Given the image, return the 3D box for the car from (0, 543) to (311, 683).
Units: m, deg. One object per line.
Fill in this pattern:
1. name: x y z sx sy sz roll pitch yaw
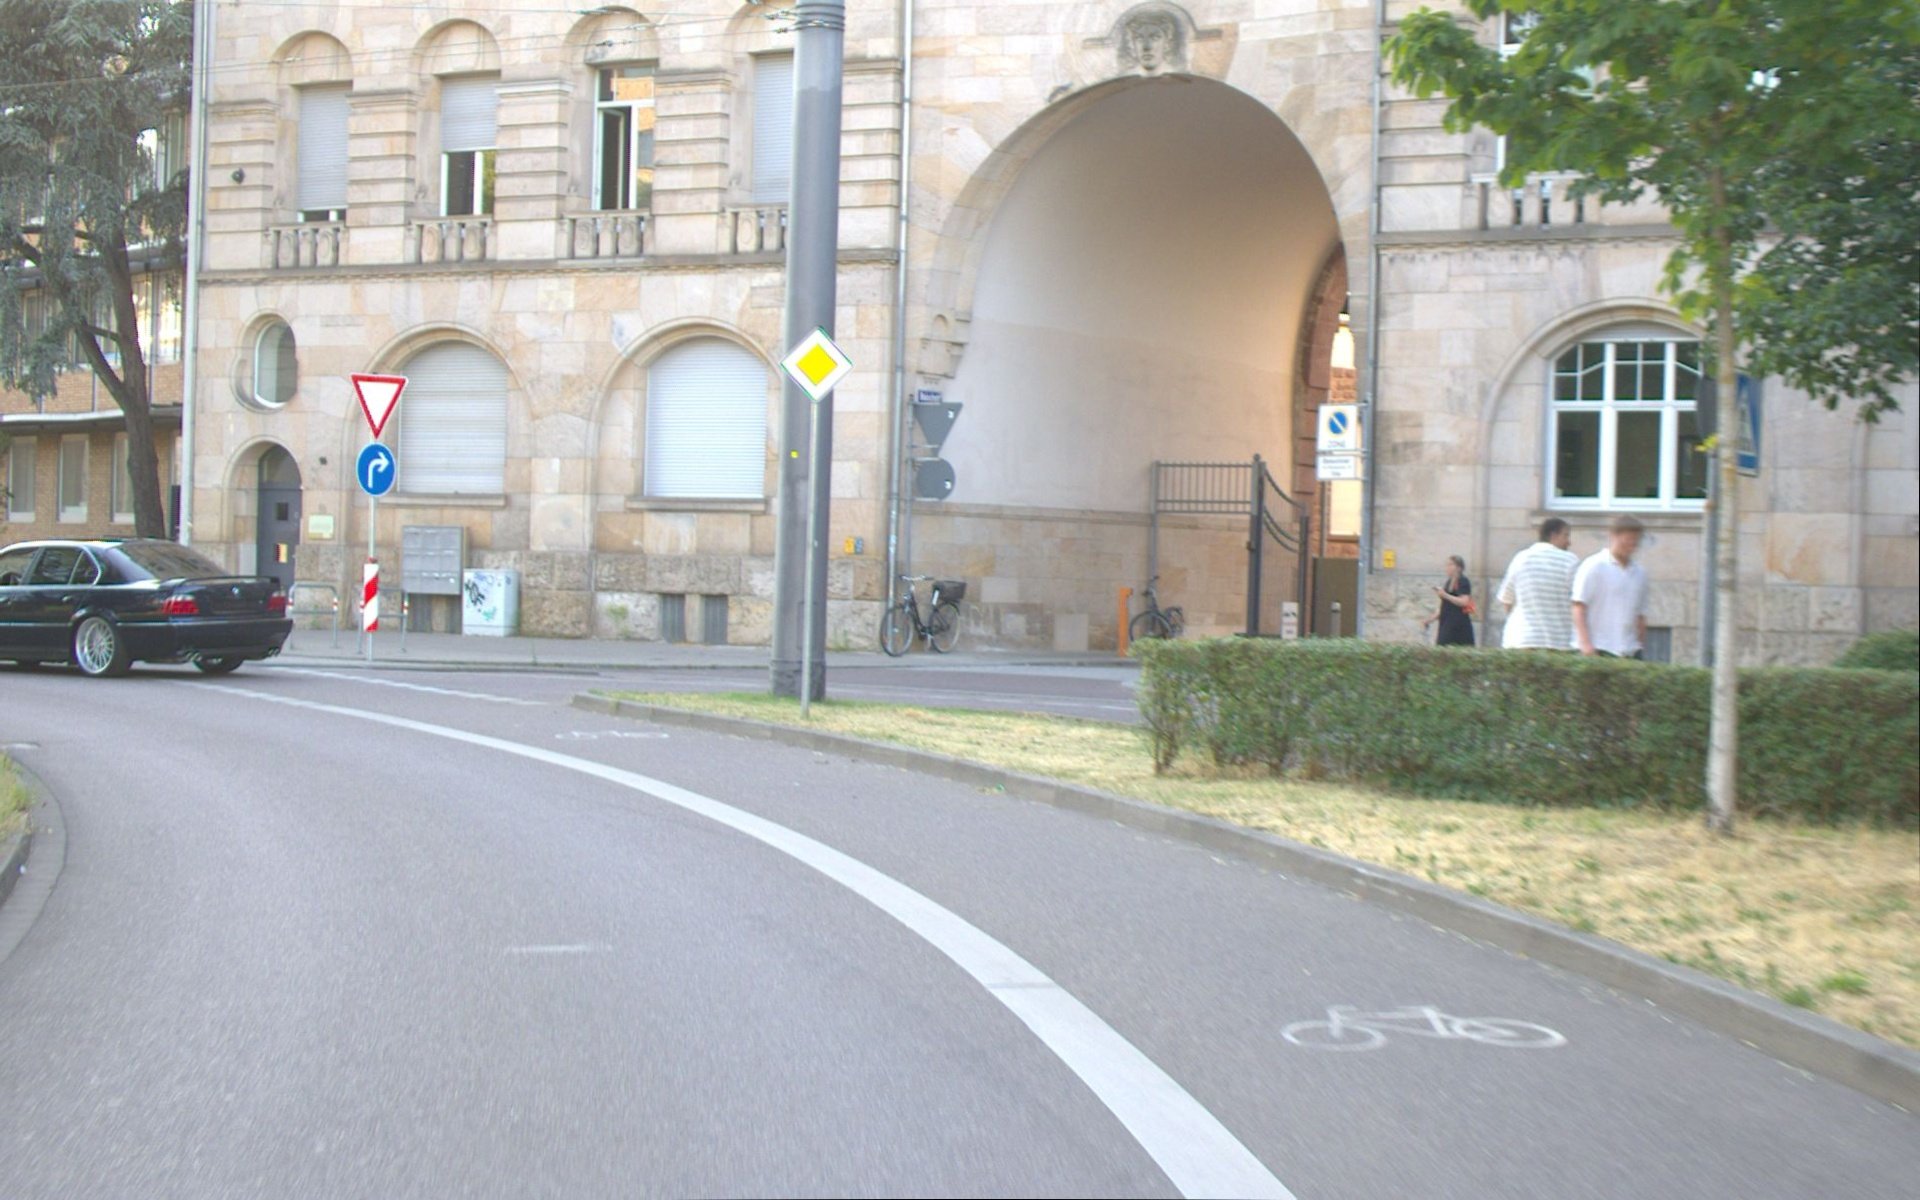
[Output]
1. car: -9.092 0.096 35.557 4.634 1.349 1.833 1 1 31

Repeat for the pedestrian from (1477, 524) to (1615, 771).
1. pedestrian: 4.359 0.346 25.609 0.590 1.785 0.821 1 2 -25

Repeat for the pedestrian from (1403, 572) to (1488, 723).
1. pedestrian: 5.616 0.544 39.758 0.721 1.703 0.576 3 2 36

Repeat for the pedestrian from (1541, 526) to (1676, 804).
1. pedestrian: 4.123 0.395 21.909 0.767 1.709 0.785 2 1 10

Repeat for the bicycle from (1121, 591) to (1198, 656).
1. bicycle: 3.052 0.357 52.529 0.481 0.952 1.510 3 2 31

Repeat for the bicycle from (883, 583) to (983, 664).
1. bicycle: -0.364 0.316 47.528 0.428 1.069 1.853 3 2 31
